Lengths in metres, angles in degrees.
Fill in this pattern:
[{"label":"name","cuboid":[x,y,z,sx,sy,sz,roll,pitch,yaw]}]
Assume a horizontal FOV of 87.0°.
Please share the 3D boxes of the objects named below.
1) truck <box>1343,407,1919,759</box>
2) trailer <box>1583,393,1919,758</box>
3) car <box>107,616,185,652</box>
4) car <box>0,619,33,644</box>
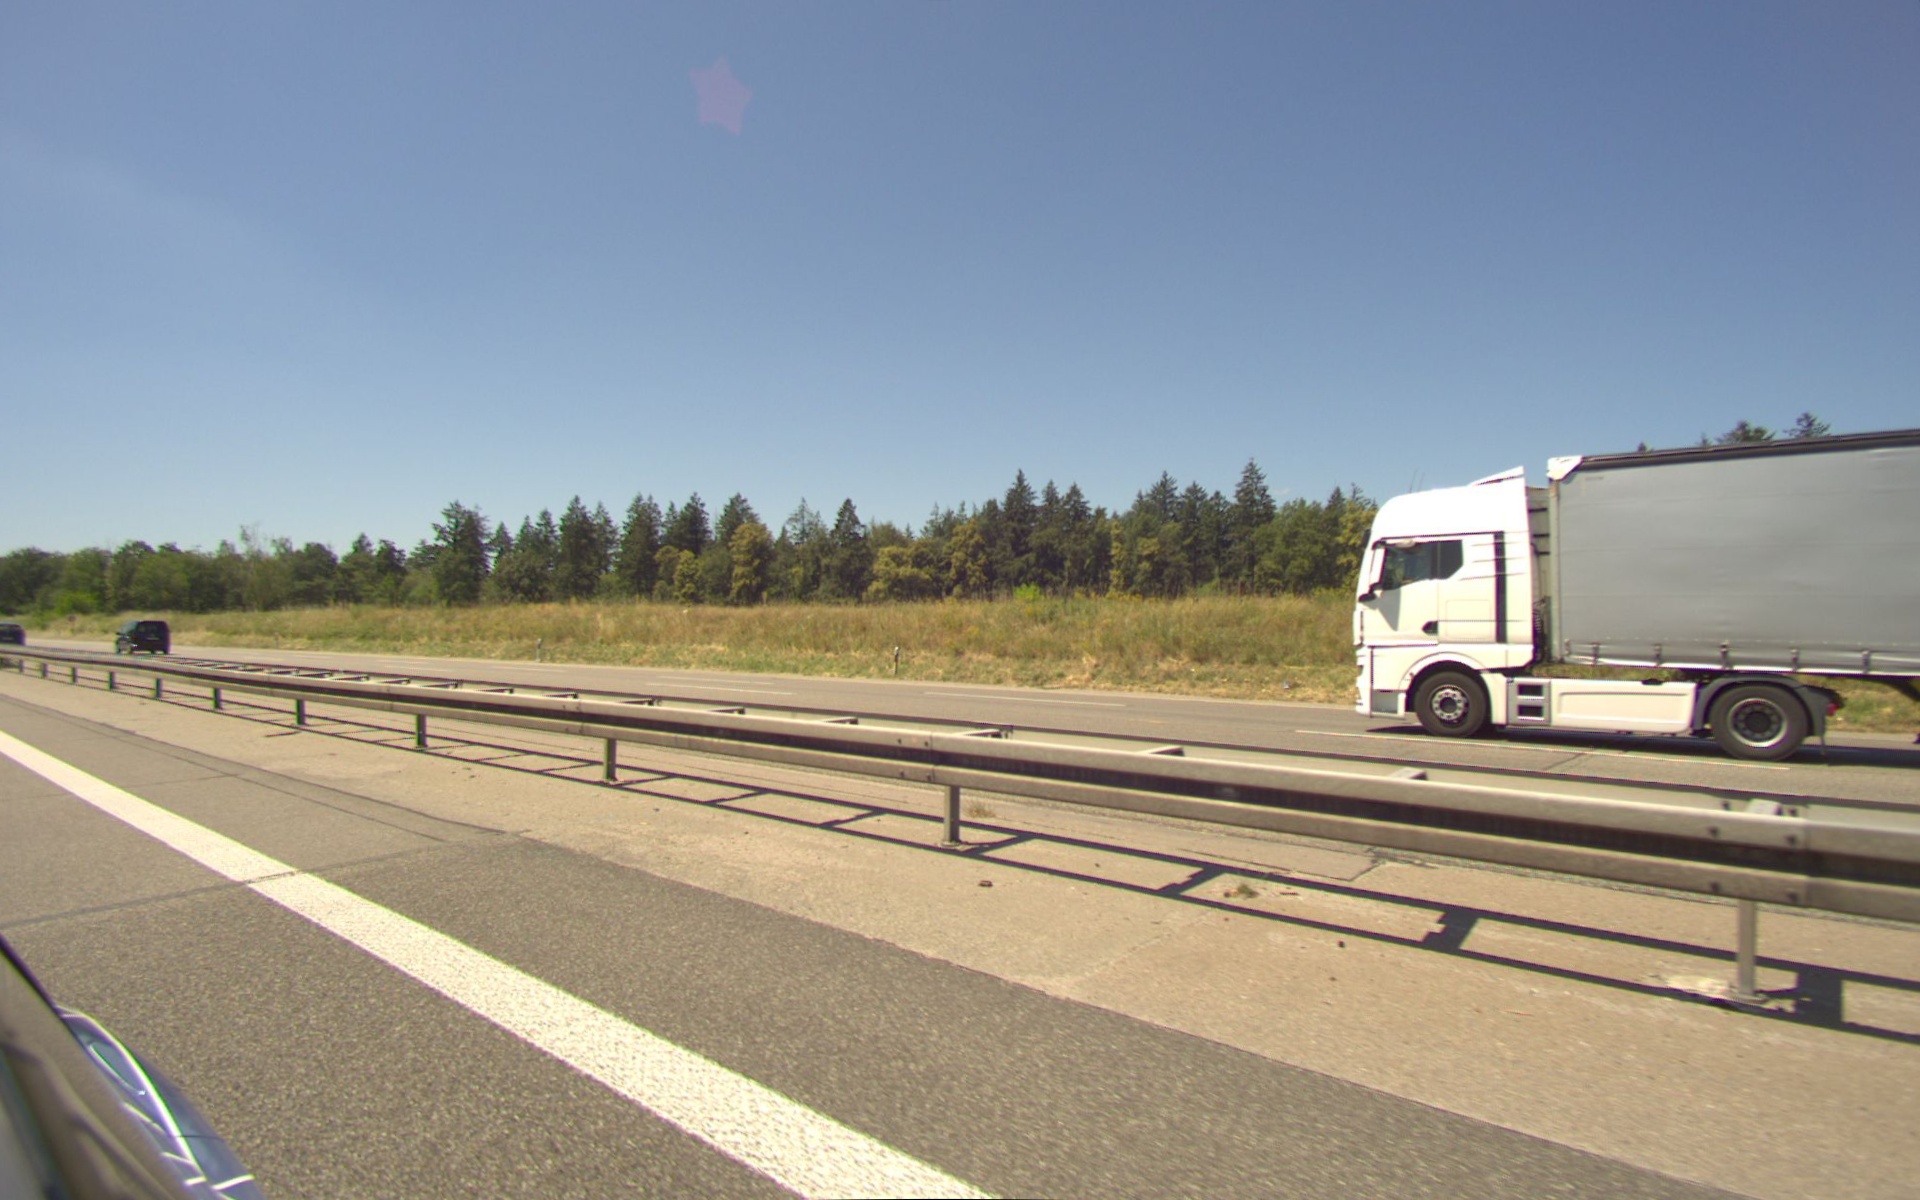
[{"label":"truck","cuboid":[9.492,-0.086,14.500,6.947,3.990,2.919,-1,-4,40]},{"label":"trailer","cuboid":[14.677,-0.280,10.135,14.091,4.139,2.919,-1,-4,40]},{"label":"car","cuboid":[-43.732,1.830,54.338,5.295,1.826,2.205,-1,-3,40]},{"label":"car","cuboid":[-57.555,1.851,60.678,5.295,1.435,2.205,-1,-3,40]}]
